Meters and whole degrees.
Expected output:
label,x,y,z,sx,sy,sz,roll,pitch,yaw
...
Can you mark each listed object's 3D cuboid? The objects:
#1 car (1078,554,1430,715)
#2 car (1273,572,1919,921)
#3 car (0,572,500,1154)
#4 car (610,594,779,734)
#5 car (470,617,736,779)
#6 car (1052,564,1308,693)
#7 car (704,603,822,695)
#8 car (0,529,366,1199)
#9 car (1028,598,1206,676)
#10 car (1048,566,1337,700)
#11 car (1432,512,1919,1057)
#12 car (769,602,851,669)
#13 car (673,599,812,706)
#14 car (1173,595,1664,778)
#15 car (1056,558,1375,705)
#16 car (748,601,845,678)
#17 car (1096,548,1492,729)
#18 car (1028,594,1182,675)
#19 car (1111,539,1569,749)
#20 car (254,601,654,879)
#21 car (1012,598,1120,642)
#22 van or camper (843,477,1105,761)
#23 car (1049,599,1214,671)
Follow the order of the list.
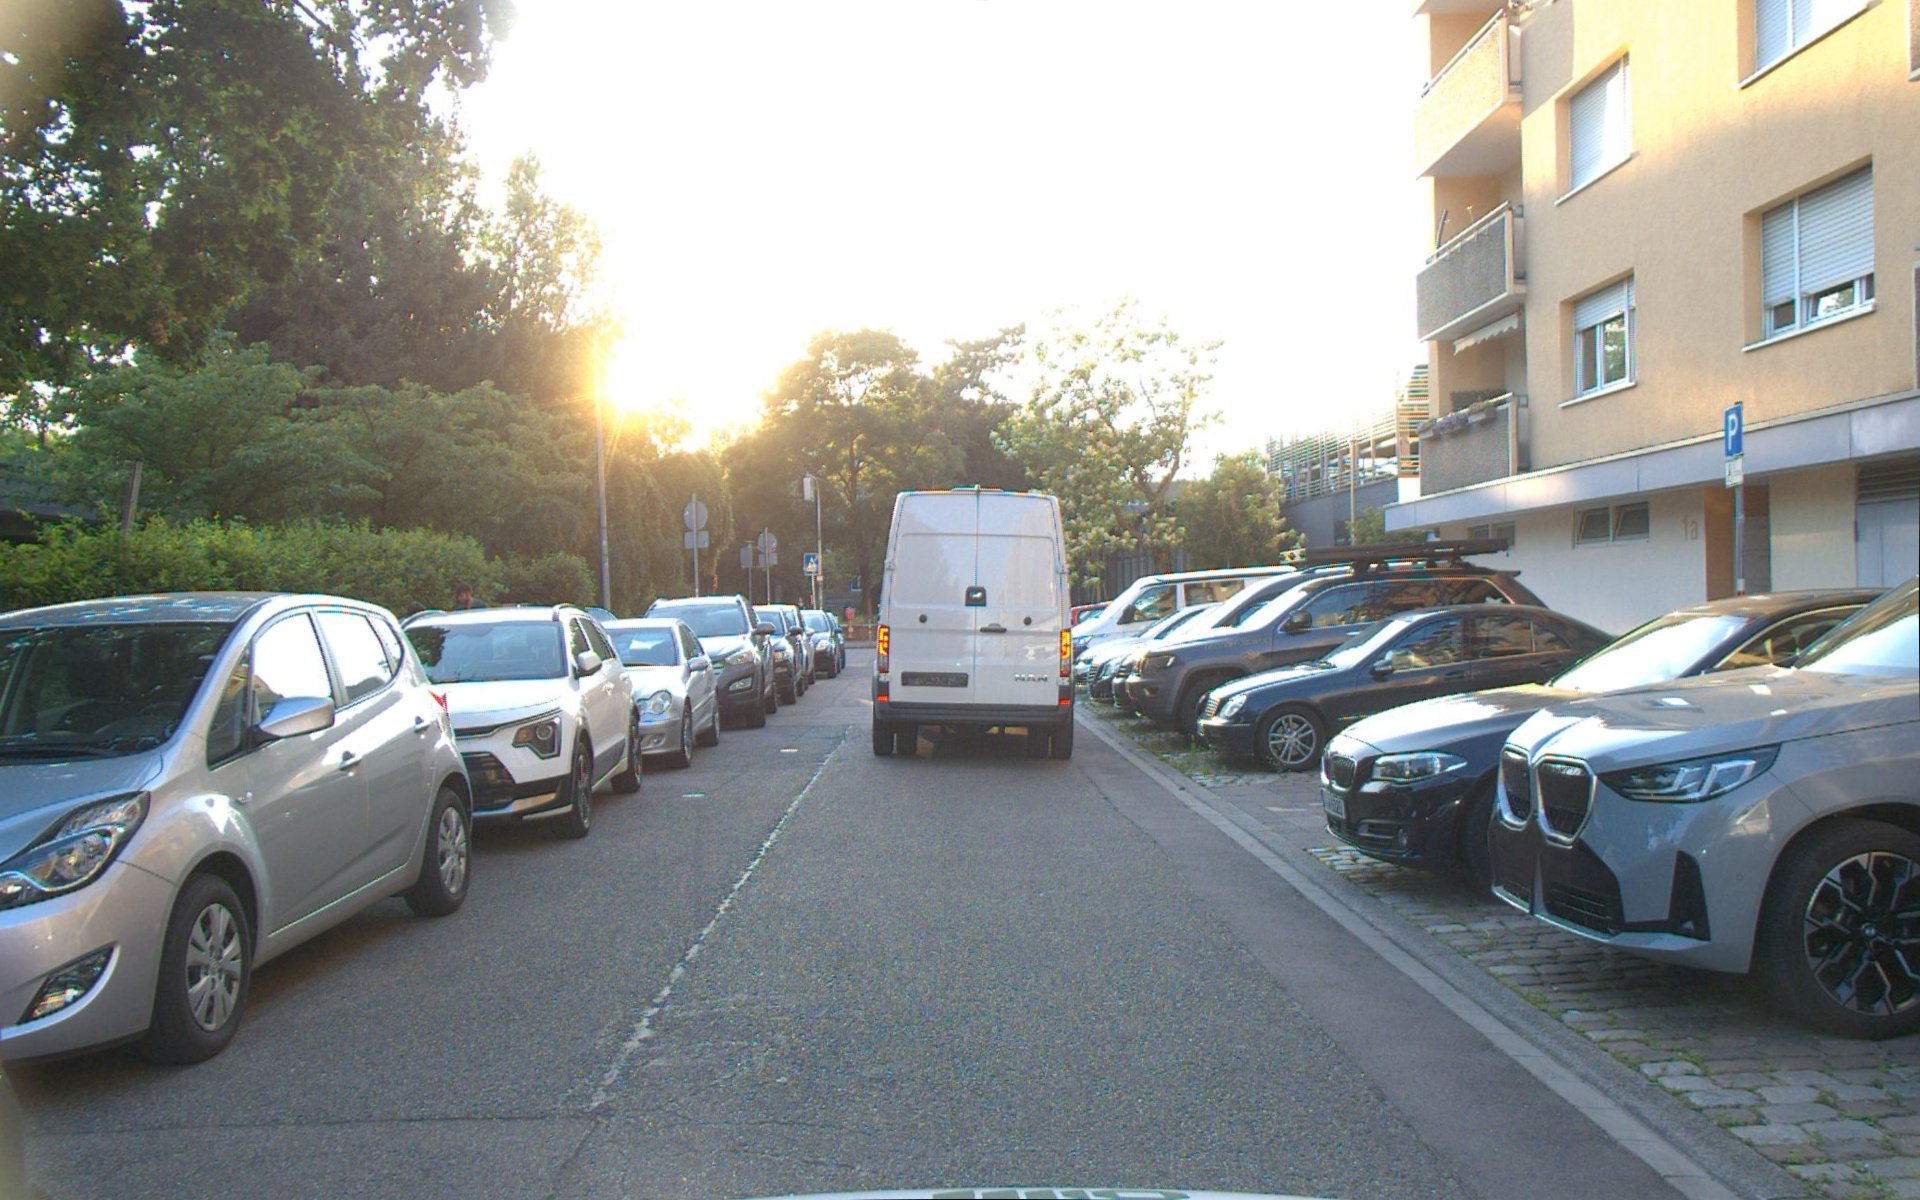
label,x,y,z,sx,sy,sz,roll,pitch,yaw
car,4.092,0.464,23.515,4.612,2.183,1.999,0,0,-3
car,3.931,0.696,9.148,3.910,1.479,1.833,-4,0,-5
car,-3.384,0.805,6.767,1.747,1.659,4.000,-3,0,1
car,-3.463,0.785,22.239,1.955,1.691,3.996,0,0,-5
car,-3.507,0.909,17.015,1.953,1.422,3.999,0,0,-2
car,3.964,0.507,30.376,4.405,2.269,2.031,0,0,-2
car,-3.710,0.883,31.754,1.954,1.646,3.998,0,0,-3
car,-2.091,0.742,0.492,1.766,1.597,4.568,-2,0,6
car,3.575,0.840,38.233,3.905,1.758,2.000,0,0,-1
car,3.883,0.542,28.189,4.612,2.183,1.999,0,0,-3
car,4.343,0.541,6.604,4.350,1.758,1.769,-2,0,-8
car,-3.848,0.878,42.982,1.954,1.646,3.998,0,0,-3
car,-3.525,0.811,27.446,1.954,1.646,3.998,0,0,-3
car,4.264,0.780,15.792,4.151,1.450,1.719,-3,0,-2
car,3.890,0.465,25.743,4.612,2.183,1.999,0,0,-3
car,-3.646,0.848,37.475,1.954,1.646,3.998,0,0,-3
car,4.149,0.461,21.089,4.612,2.183,1.999,0,0,-3
car,3.784,0.890,43.597,3.905,2.049,2.000,0,0,0
car,4.106,0.457,18.395,4.612,2.183,1.999,0,0,-3
car,-3.424,0.844,12.025,1.819,1.582,4.096,-3,0,-4
car,4.054,0.764,63.558,3.909,1.646,1.998,0,0,-5
van or camper,0.215,0.178,18.374,2.403,2.591,6.084,1,0,2
car,4.225,0.855,41.285,3.905,1.758,2.000,0,0,-1
